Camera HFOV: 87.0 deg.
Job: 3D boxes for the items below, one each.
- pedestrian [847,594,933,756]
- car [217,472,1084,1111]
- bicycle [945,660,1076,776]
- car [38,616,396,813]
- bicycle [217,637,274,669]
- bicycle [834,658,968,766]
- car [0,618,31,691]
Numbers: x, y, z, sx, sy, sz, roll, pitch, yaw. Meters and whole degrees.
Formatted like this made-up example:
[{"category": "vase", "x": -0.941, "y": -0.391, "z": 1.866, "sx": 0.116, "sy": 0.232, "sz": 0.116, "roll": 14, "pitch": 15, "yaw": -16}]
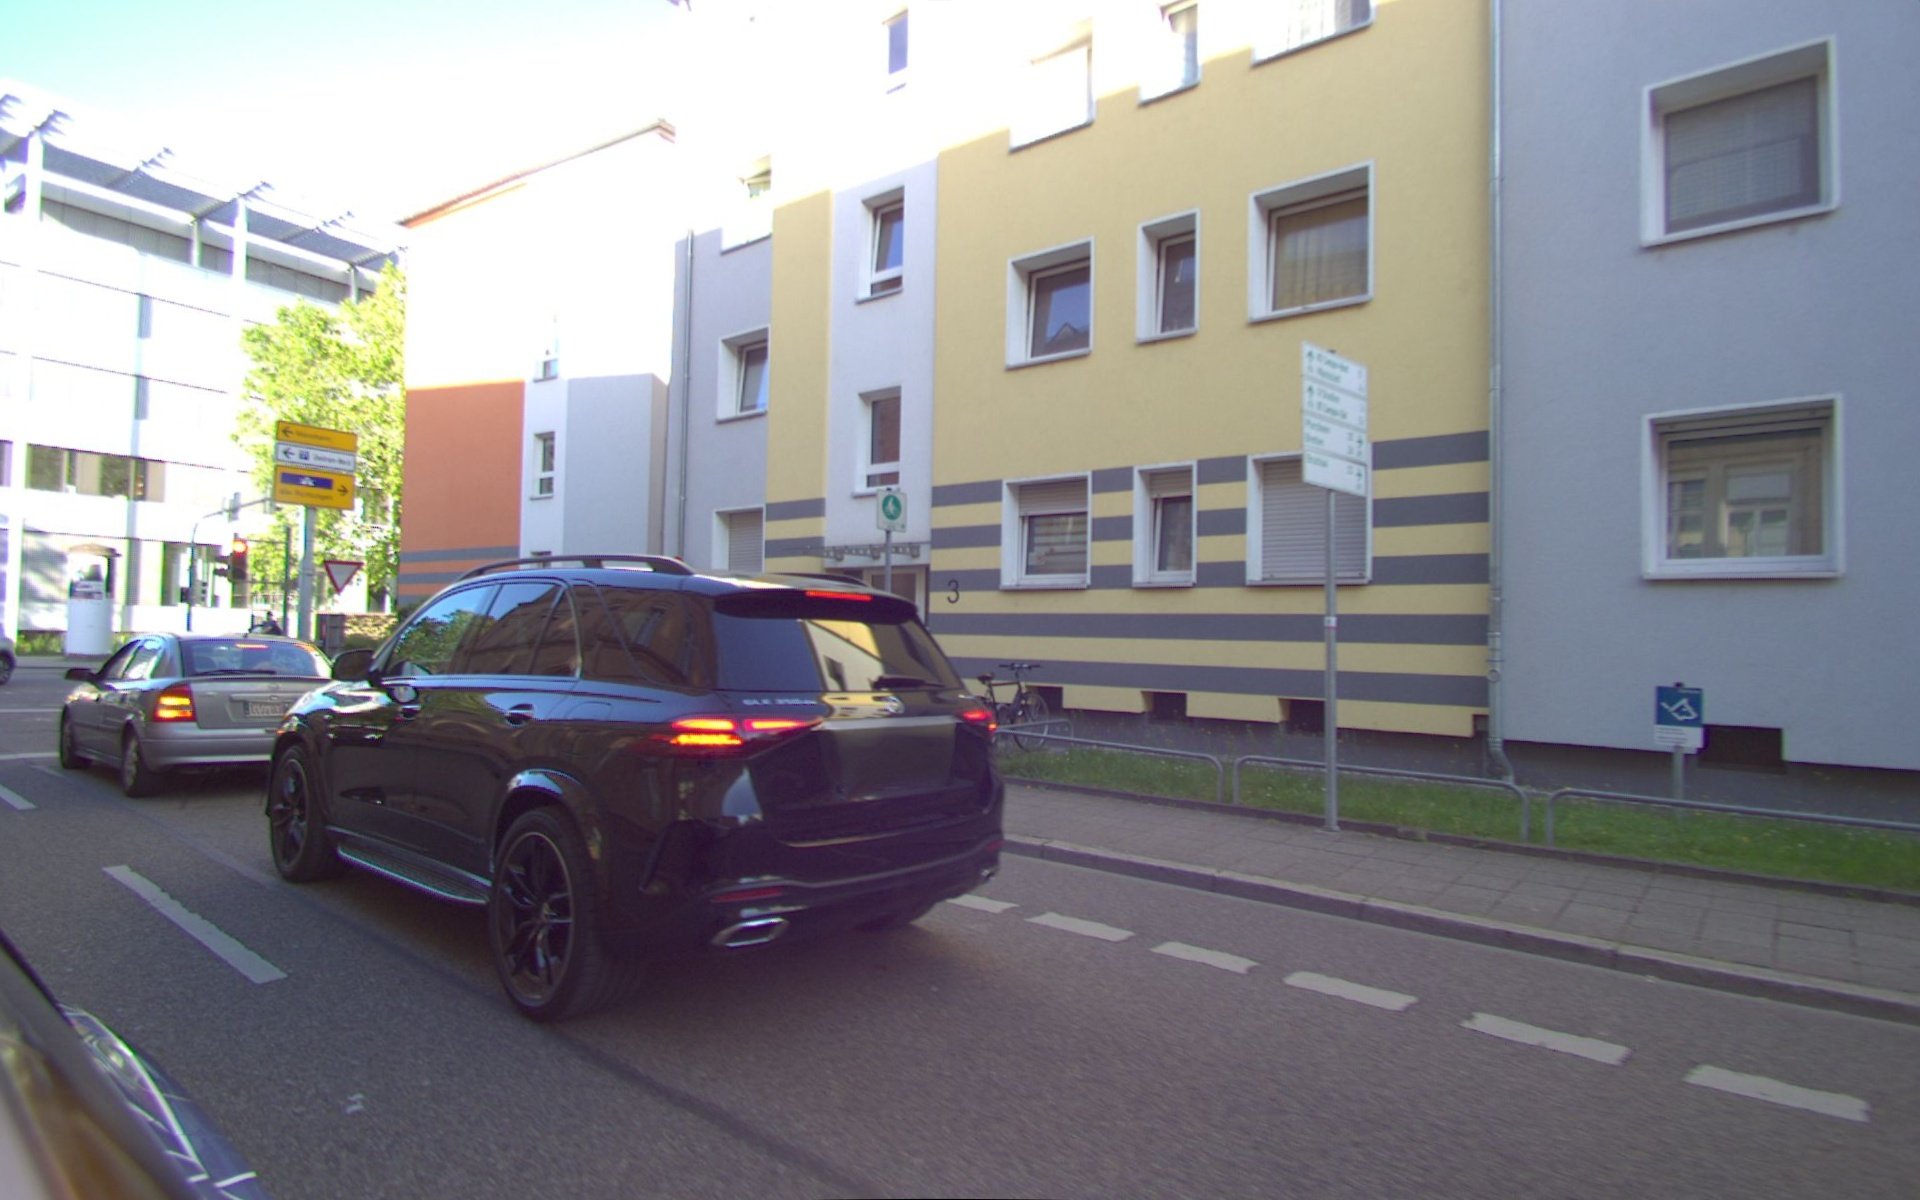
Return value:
[{"category": "pedestrian", "x": -0.848, "y": 0.887, "z": 12.196, "sx": 0.709, "sy": 1.869, "sz": 0.872, "roll": 2, "pitch": -3, "yaw": -27}, {"category": "car", "x": -2.014, "y": 0.651, "z": 5.346, "sx": 5.091, "sy": 1.849, "sz": 1.880, "roll": -1, "pitch": -5, "yaw": 41}, {"category": "bicycle", "x": 0.598, "y": 1.255, "z": 11.211, "sx": 0.649, "sy": 1.154, "sz": 1.737, "roll": -1, "pitch": -3, "yaw": 33}, {"category": "car", "x": -7.217, "y": 0.967, "z": 9.685, "sx": 4.133, "sy": 1.497, "sz": 1.723, "roll": -1, "pitch": -5, "yaw": 40}, {"category": "bicycle", "x": -28.468, "y": 2.108, "z": 40.312, "sx": 1.967, "sy": 1.191, "sz": 0.470, "roll": 1, "pitch": -2, "yaw": 3}, {"category": "bicycle", "x": -0.656, "y": 1.265, "z": 11.862, "sx": 0.649, "sy": 1.154, "sz": 1.737, "roll": -1, "pitch": -3, "yaw": 33}, {"category": "car", "x": -21.980, "y": 1.140, "z": 21.228, "sx": 1.720, "sy": 1.616, "sz": 4.008, "roll": 1, "pitch": -3, "yaw": -9}]
